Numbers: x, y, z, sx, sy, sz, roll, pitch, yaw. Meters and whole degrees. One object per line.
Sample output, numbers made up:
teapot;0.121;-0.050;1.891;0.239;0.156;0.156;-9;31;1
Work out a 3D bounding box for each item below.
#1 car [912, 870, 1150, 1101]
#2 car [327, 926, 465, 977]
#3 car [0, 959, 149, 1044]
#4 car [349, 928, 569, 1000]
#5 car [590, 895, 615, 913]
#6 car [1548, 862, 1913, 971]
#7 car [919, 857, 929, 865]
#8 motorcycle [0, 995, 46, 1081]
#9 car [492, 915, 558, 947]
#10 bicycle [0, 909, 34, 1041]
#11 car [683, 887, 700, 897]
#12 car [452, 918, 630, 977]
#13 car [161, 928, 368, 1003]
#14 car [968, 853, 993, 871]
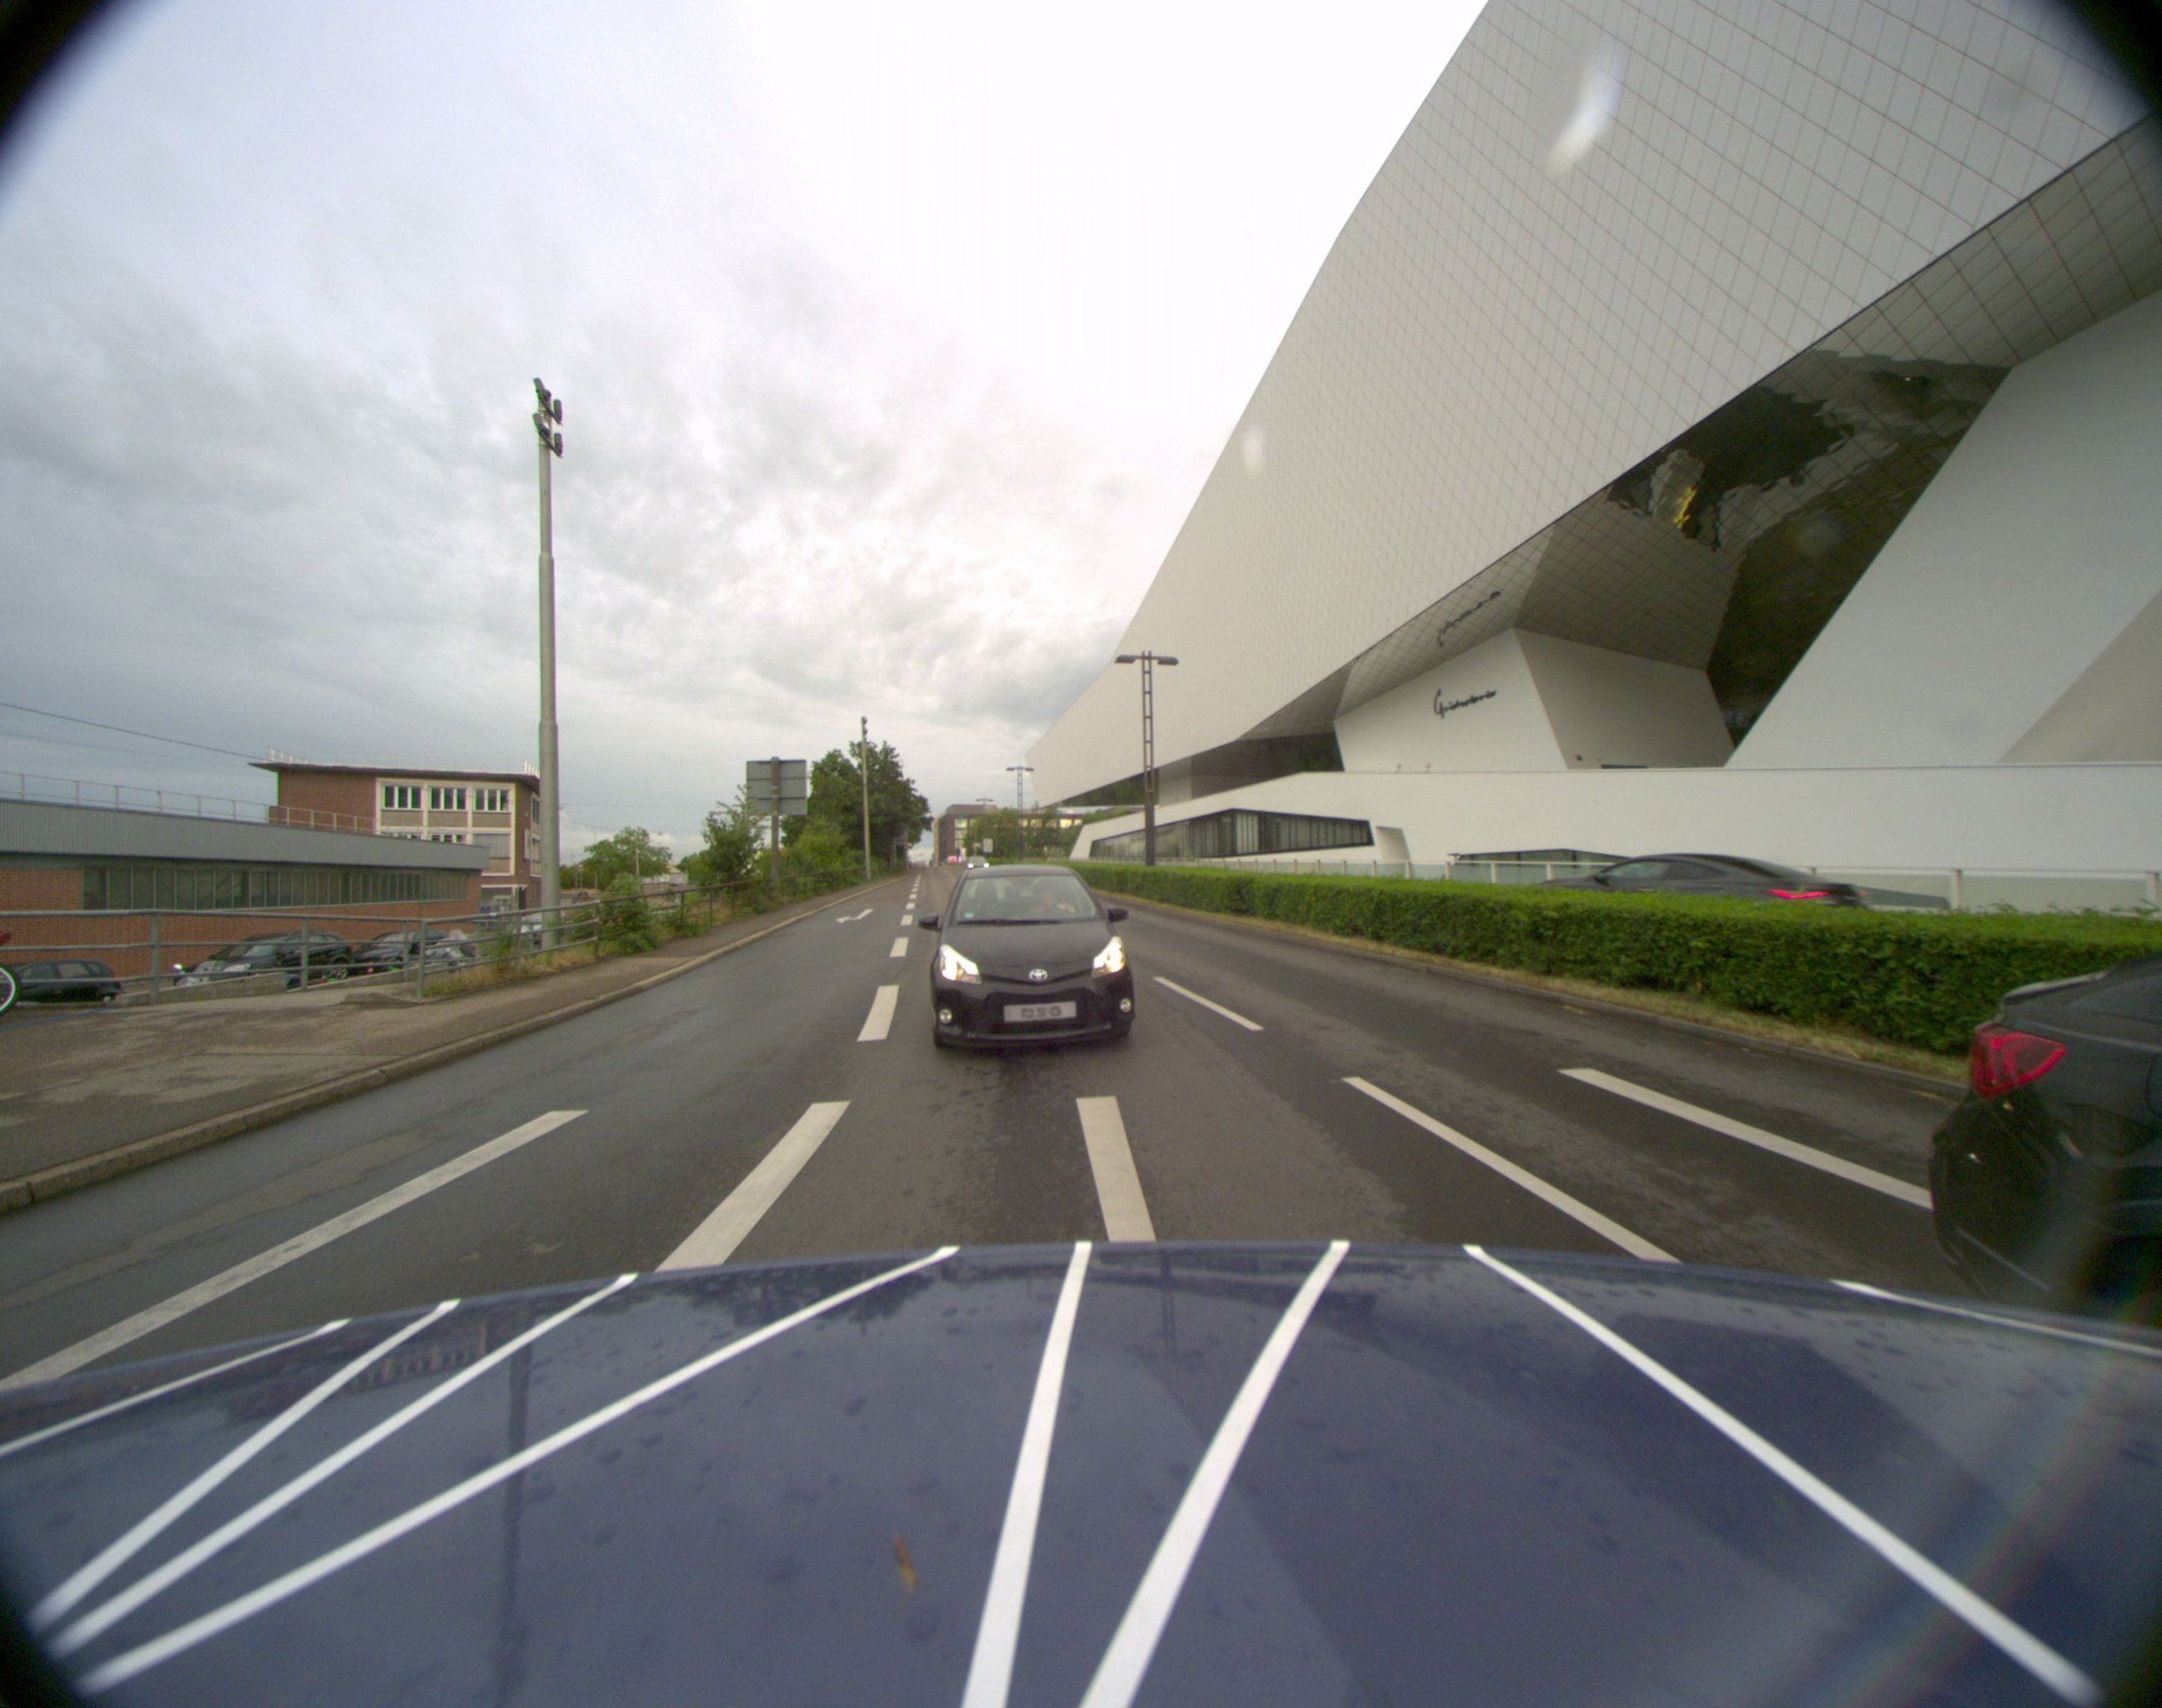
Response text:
car;-0.626;0.989;7.559;1.695;1.498;4.008;-2;1;-8
car;-25.691;3.602;28.737;1.720;1.396;4.273;-2;-1;-7
car;-23.145;3.230;16.309;1.721;1.417;3.997;-2;-1;-10
car;-14.887;2.612;18.320;3.995;1.417;1.722;-2;-1;5
car;-42.154;4.363;67.037;1.723;1.417;3.991;-1;-1;-30
car;9.654;0.808;11.763;1.726;1.329;3.994;0;0;-17
car;-30.236;1.329;145.997;1.750;1.466;4.064;-2;1;-13
motorcycle;-13.298;2.214;8.736;1.618;0.916;0.420;-3;1;-24
car;-30.223;4.131;41.421;1.735;1.380;3.994;-2;-1;-19
bicycle;-10.414;1.091;6.567;1.547;1.148;0.450;0;2;-27
car;-55.148;5.356;107.521;1.724;1.417;3.991;-1;-1;-34
car;-15.529;2.673;21.964;3.995;1.417;1.722;-2;-1;5
car;-24.447;3.266;23.055;1.784;1.657;4.503;-2;-1;-7
car;-8.780;0.686;66.104;1.819;1.430;4.297;-2;0;-12
